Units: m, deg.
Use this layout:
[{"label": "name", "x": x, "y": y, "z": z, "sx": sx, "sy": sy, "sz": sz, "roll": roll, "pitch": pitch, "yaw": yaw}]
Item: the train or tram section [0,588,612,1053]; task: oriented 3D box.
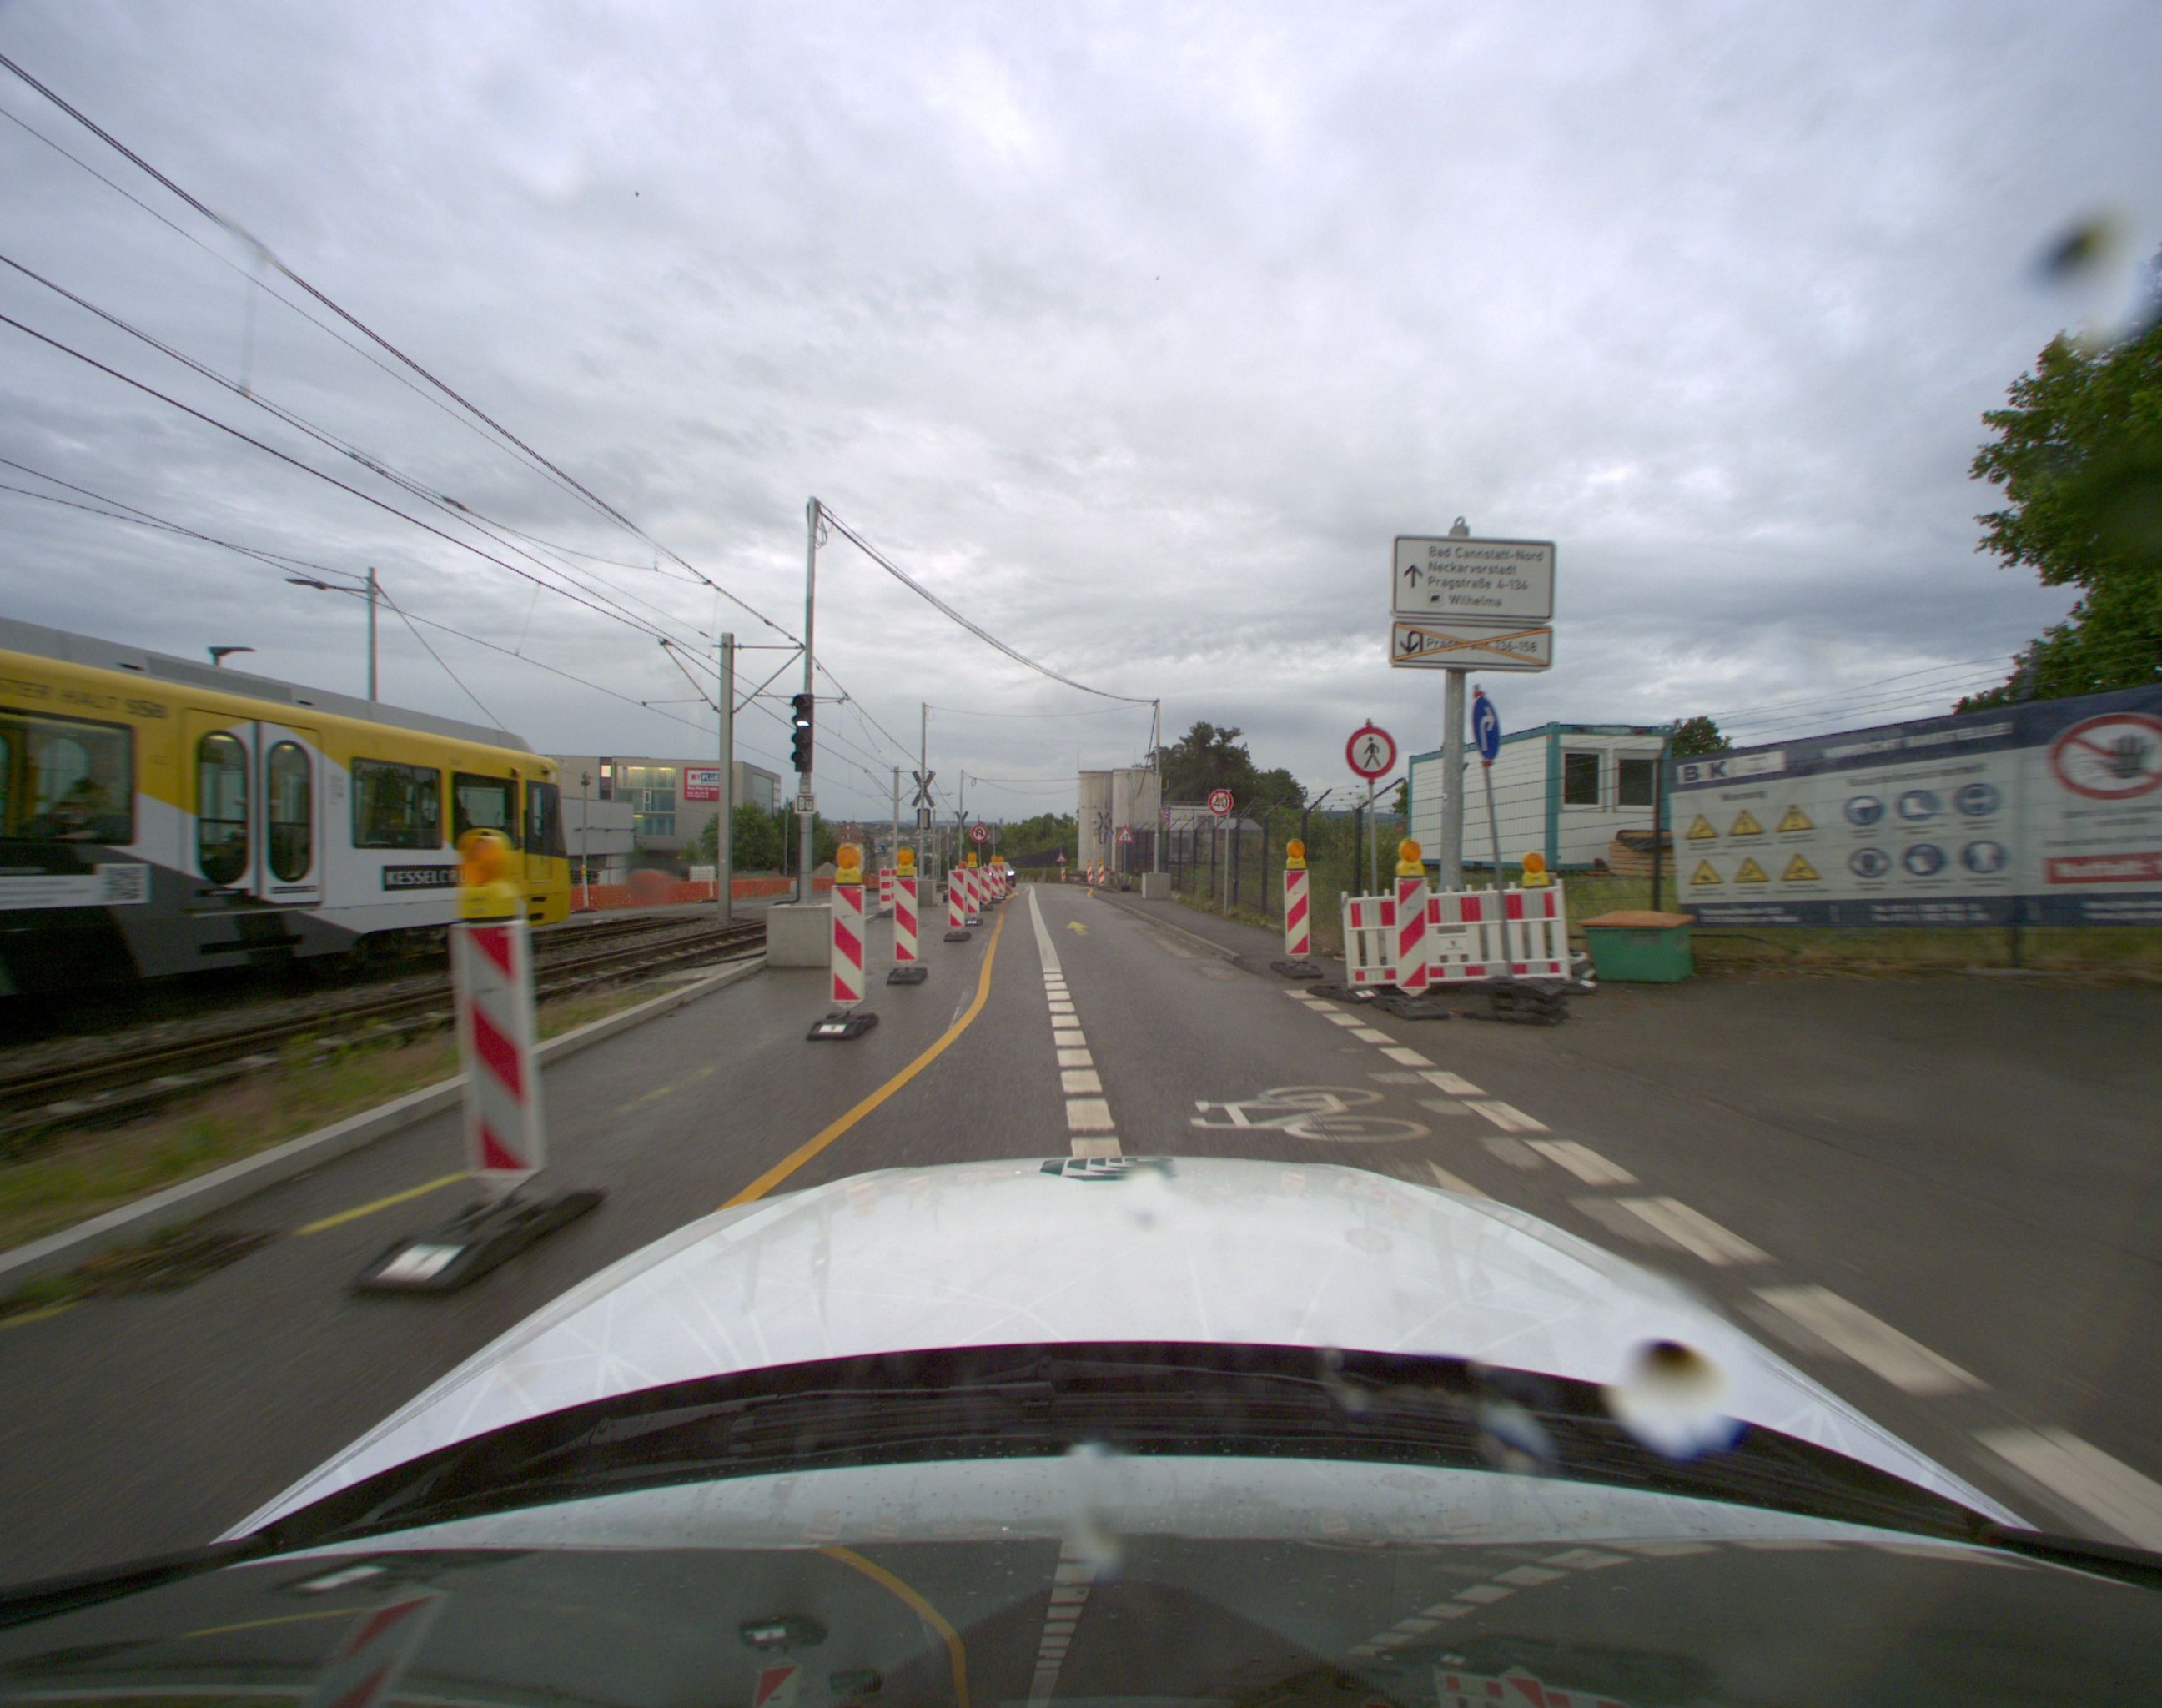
[{"label": "train or tram section", "x": -10.486, "y": -0.307, "z": 6.189, "sx": 2.947, "sy": 3.886, "sz": 19.280, "roll": 1, "pitch": 0, "yaw": -1}]

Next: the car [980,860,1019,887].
[{"label": "car", "x": -5.417, "y": 1.241, "z": 53.770, "sx": 1.996, "sy": 1.678, "sz": 4.467, "roll": 0, "pitch": -1, "yaw": -14}]
